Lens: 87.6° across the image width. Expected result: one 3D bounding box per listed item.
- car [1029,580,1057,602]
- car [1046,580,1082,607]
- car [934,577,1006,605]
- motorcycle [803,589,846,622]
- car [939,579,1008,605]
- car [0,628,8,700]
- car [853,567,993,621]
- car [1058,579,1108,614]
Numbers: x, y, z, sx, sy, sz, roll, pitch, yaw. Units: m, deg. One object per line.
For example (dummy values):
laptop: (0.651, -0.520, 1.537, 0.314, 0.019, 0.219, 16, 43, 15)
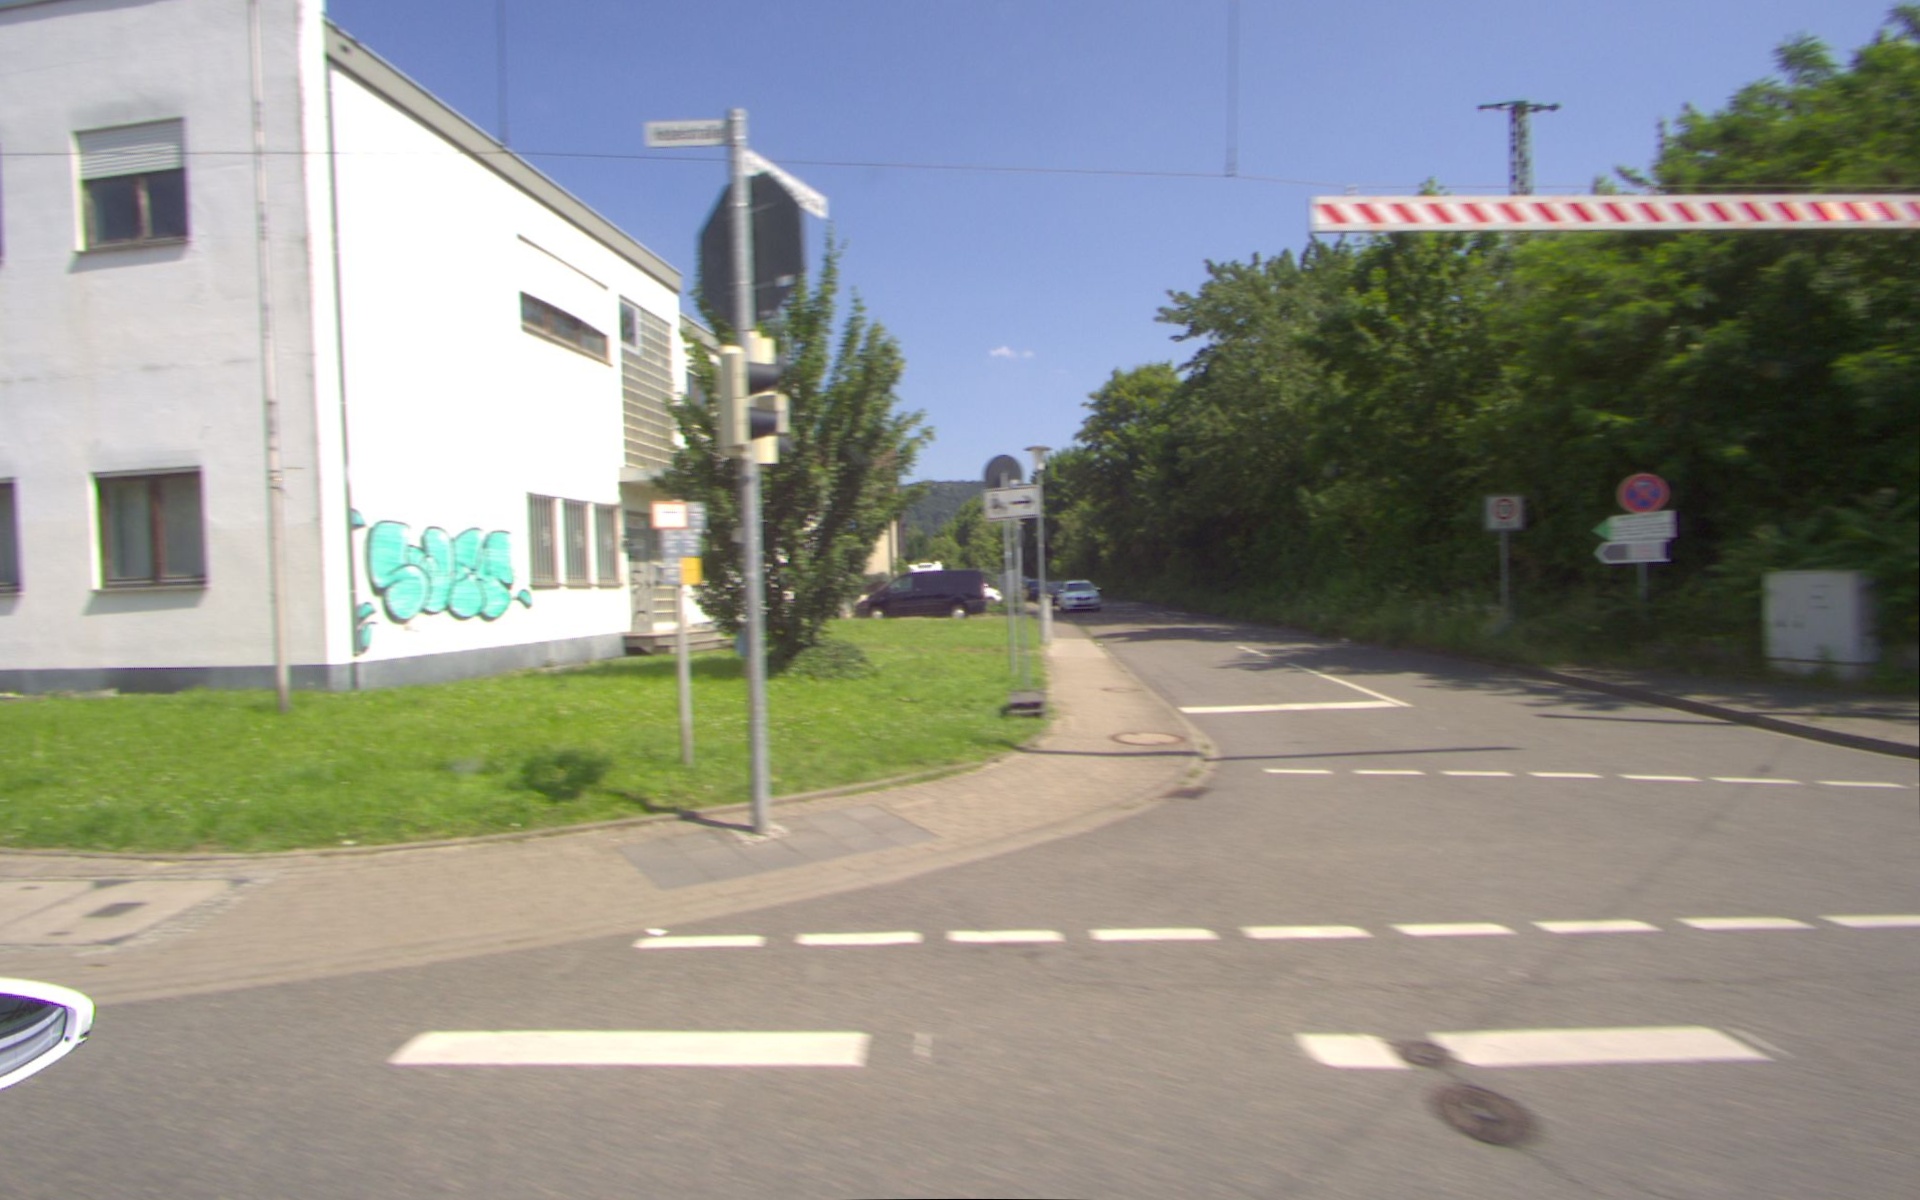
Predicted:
car: (5.776, -0.660, 70.209, 1.880, 1.419, 3.730, -1, 2, 4)
car: (6.011, -0.351, 58.208, 1.881, 1.417, 3.732, -3, 0, 4)
car: (0.537, -0.463, 52.429, 3.660, 1.389, 1.604, 0, 0, 4)
motorcycle: (-4.472, 0.206, 33.285, 0.838, 1.045, 2.567, 0, -1, 6)
car: (0.761, -0.449, 54.823, 3.660, 1.390, 1.604, 0, 0, 4)
car: (-12.644, 0.610, 10.115, 1.854, 1.484, 3.994, -1, 4, 8)
car: (-1.340, -0.212, 38.223, 5.162, 1.840, 1.999, -2, 1, 2)
car: (5.903, -0.214, 48.517, 2.053, 1.530, 4.537, -2, 1, 3)
